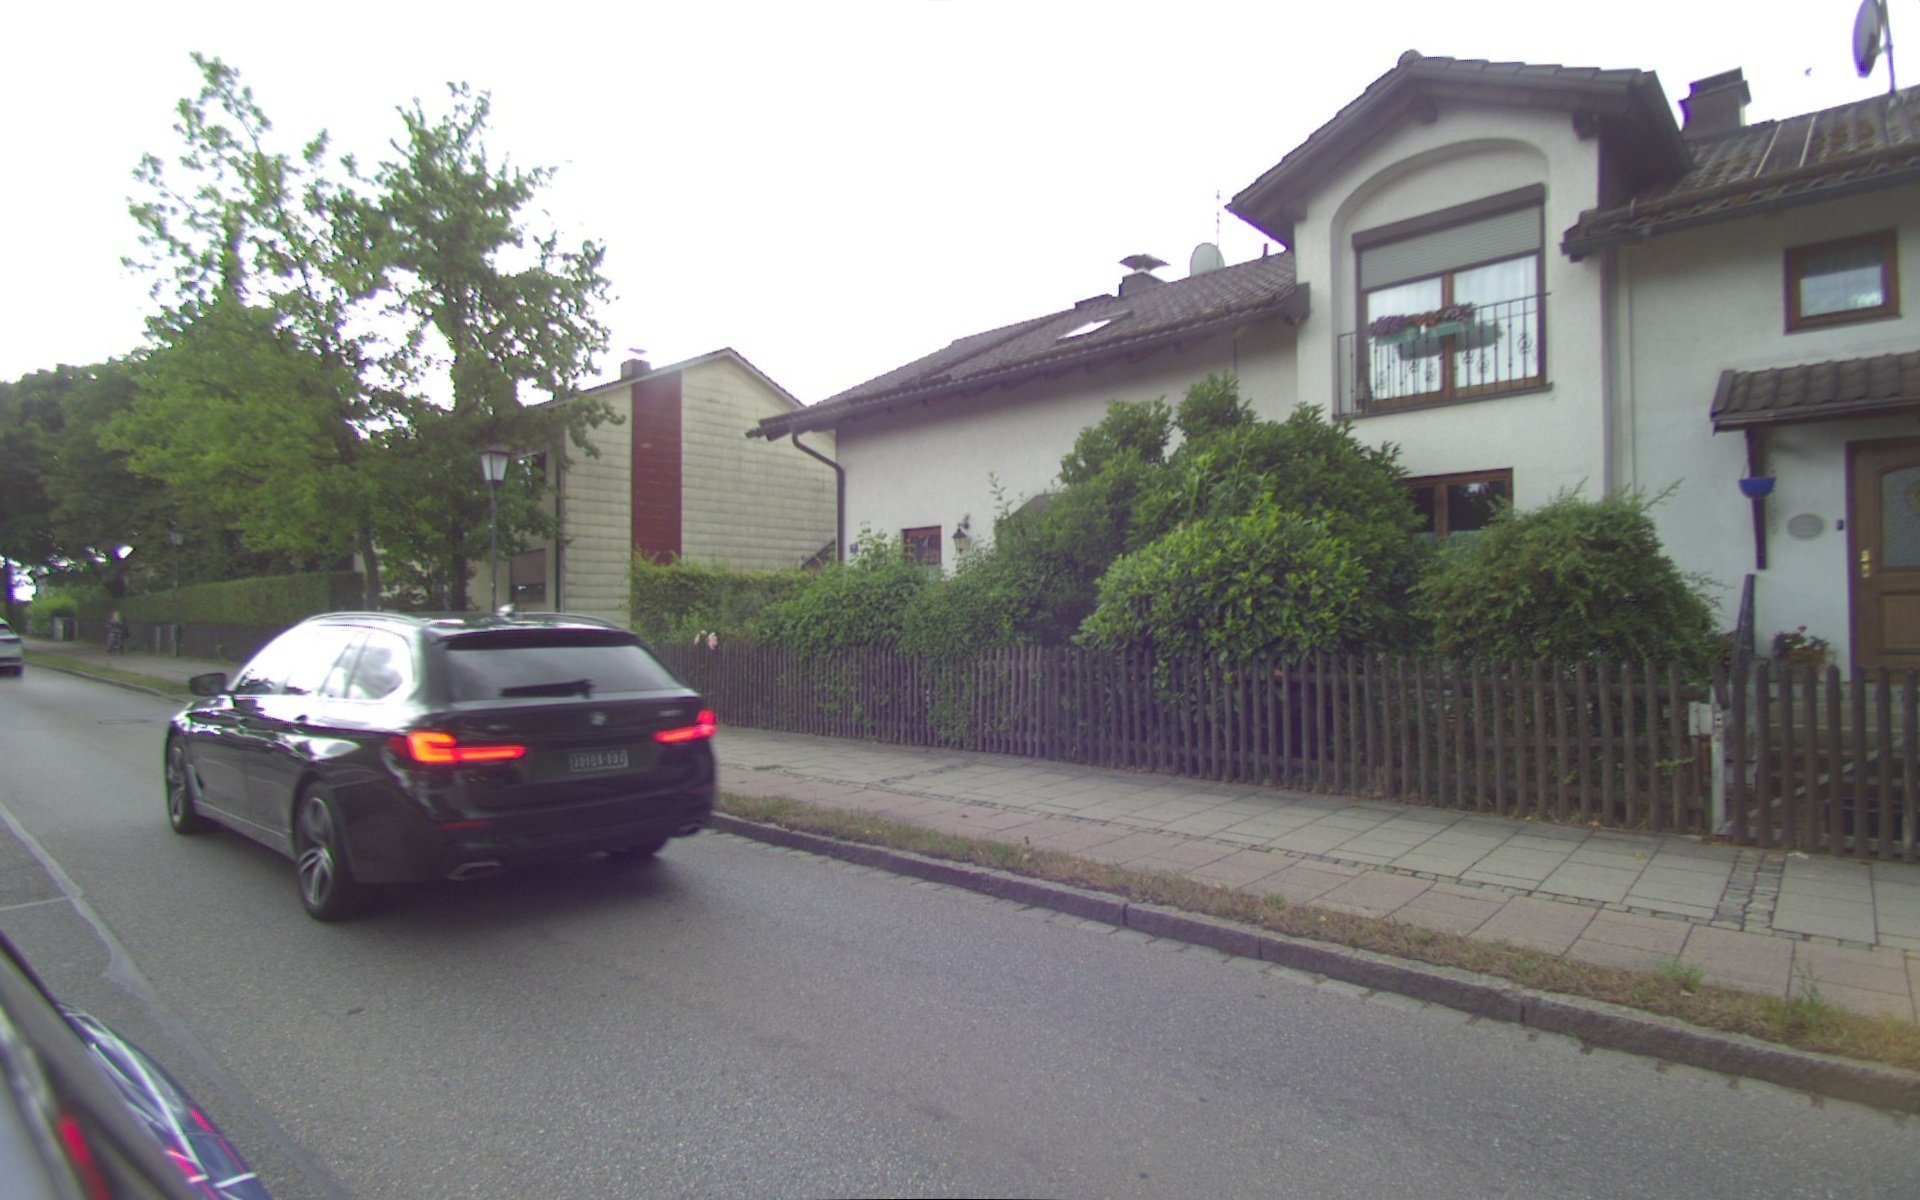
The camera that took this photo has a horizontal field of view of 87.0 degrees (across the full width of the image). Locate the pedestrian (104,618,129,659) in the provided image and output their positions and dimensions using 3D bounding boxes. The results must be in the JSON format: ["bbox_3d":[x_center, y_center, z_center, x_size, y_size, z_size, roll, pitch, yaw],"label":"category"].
[{"bbox_3d":[-30.391,1.366,36.468,0.563,1.448,0.623,-1,-1,41],"label":"pedestrian"}]

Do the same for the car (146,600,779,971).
[{"bbox_3d":[-3.282,0.776,6.188,4.545,1.465,1.827,-1,-1,40],"label":"car"}]

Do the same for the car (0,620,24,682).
[{"bbox_3d":[-25.378,1.265,25.826,4.374,1.495,1.733,-1,-2,42],"label":"car"}]
